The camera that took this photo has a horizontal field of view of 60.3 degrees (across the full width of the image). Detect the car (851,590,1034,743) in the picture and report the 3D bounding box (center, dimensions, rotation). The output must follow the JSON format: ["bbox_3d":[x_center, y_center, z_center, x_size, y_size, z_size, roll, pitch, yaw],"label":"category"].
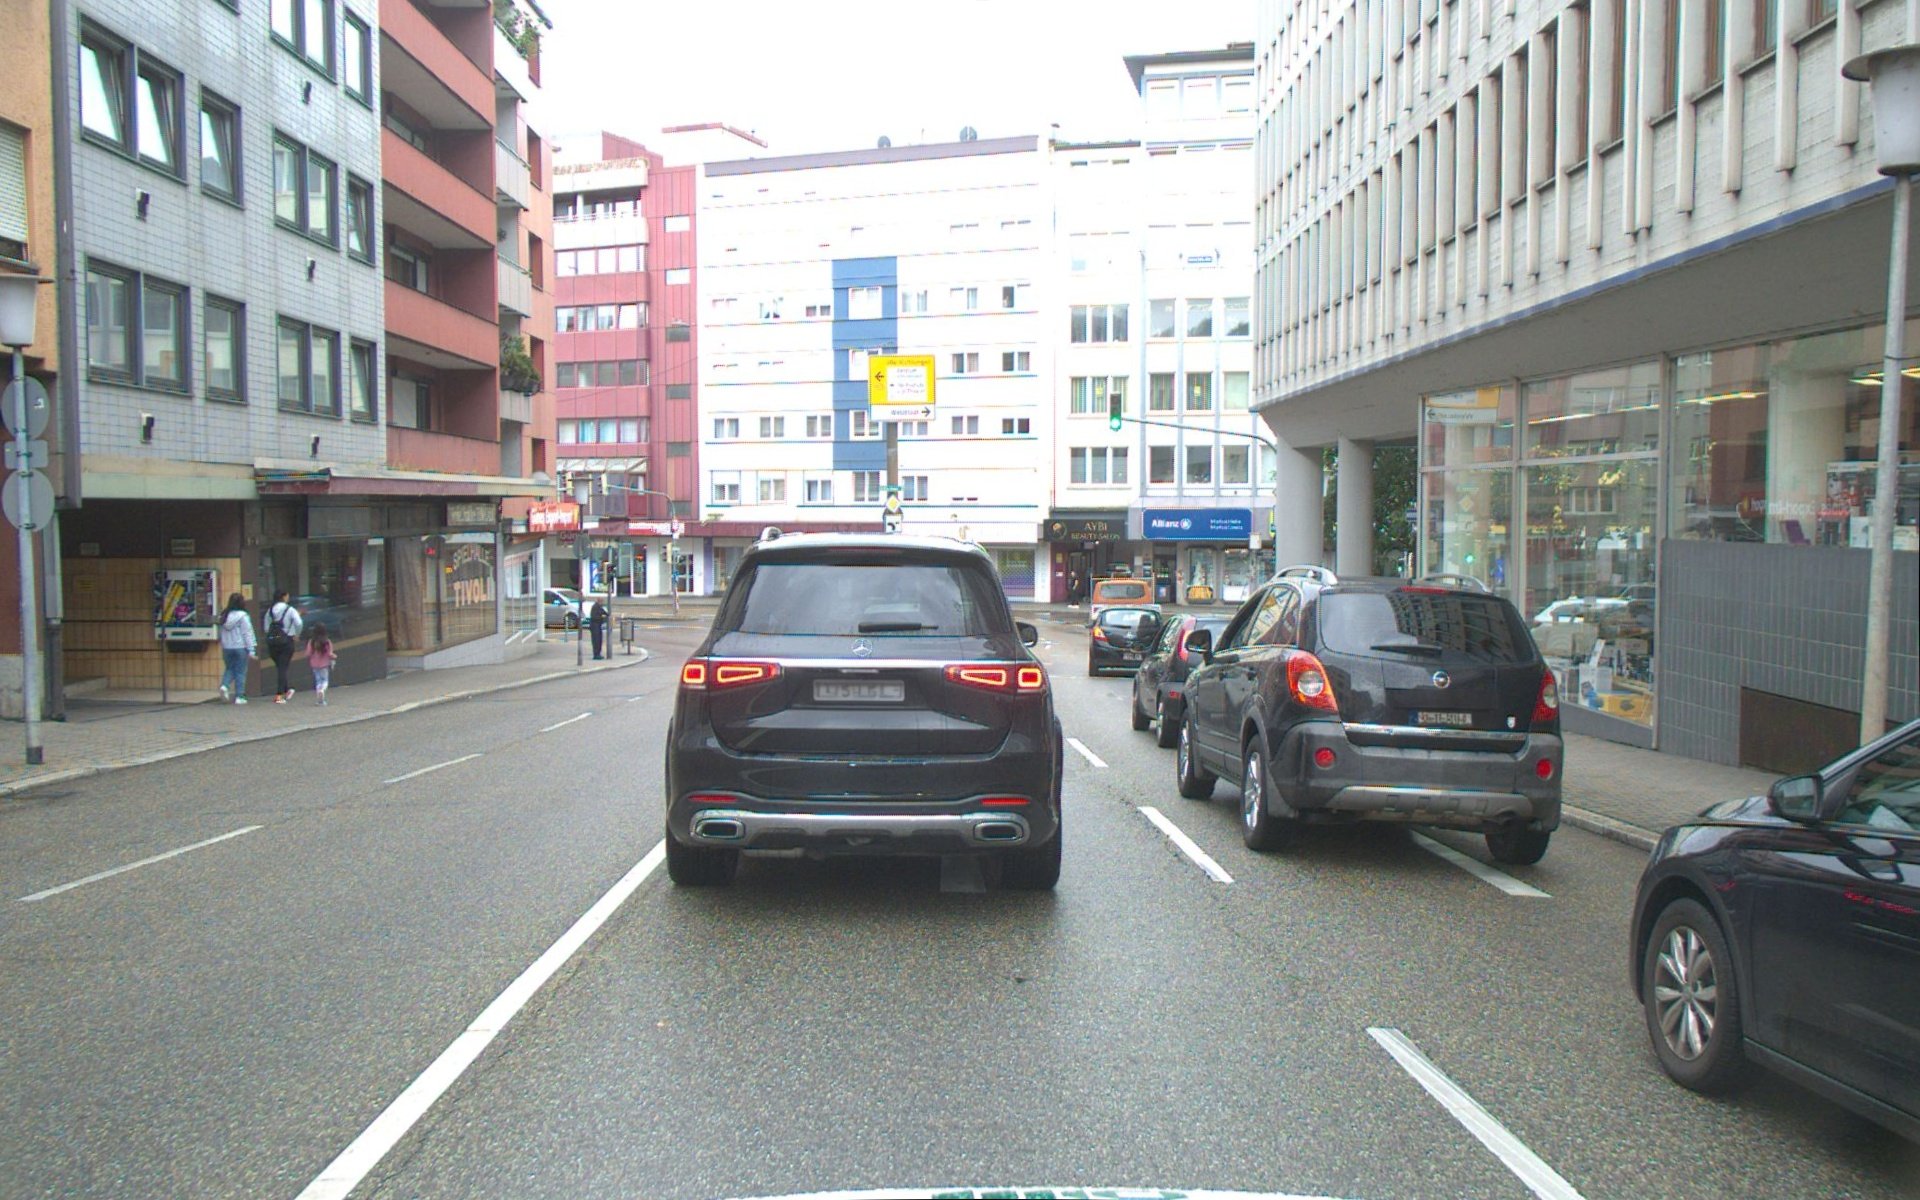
[{"bbox_3d":[-0.266,0.667,19.058,1.836,1.521,4.398,1,0,-2],"label":"car"}]

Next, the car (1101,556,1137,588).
[{"bbox_3d":[8.809,-1.517,91.445,1.759,1.699,4.003,0,0,8],"label":"car"}]

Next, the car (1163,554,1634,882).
[{"bbox_3d":[2.713,0.648,11.419,1.859,1.724,4.504,3,0,-2],"label":"car"}]

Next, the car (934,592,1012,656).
[{"bbox_3d":[0.285,0.648,43.655,1.886,1.542,4.661,2,-1,-1],"label":"car"}]

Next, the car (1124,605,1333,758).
[{"bbox_3d":[2.935,0.841,18.854,1.731,1.421,4.001,3,0,1],"label":"car"}]

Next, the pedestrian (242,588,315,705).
[{"bbox_3d":[-10.284,0.690,24.974,0.812,1.719,0.722,2,0,-10],"label":"pedestrian"}]

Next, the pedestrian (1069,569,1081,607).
[{"bbox_3d":[5.501,-0.582,79.150,0.552,1.717,0.757,0,6,5],"label":"pedestrian"}]

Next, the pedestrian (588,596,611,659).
[{"bbox_3d":[-10.056,0.758,46.107,0.543,1.727,0.623,0,0,-4],"label":"pedestrian"}]

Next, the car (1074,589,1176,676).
[{"bbox_3d":[3.471,0.676,35.479,1.785,1.687,4.495,2,-1,1],"label":"car"}]

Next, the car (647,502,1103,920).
[{"bbox_3d":[-0.464,0.490,9.714,1.998,1.830,4.660,1,0,-2],"label":"car"}]

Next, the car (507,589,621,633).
[{"bbox_3d":[-15.907,0.430,66.483,4.073,1.620,1.742,2,1,14],"label":"car"}]

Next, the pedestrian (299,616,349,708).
[{"bbox_3d":[-9.598,0.924,24.966,0.523,1.346,0.722,2,0,-10],"label":"pedestrian"}]

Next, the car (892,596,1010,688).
[{"bbox_3d":[-0.176,0.698,29.868,1.953,1.512,4.236,-1,0,-1],"label":"car"}]

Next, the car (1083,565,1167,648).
[{"bbox_3d":[4.843,0.196,49.139,2.195,2.267,5.430,1,0,3],"label":"car"}]

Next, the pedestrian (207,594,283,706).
[{"bbox_3d":[-10.418,0.723,24.129,0.812,1.588,0.722,2,0,-10],"label":"pedestrian"}]

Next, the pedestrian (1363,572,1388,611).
[{"bbox_3d":[19.073,-0.403,75.908,1.008,1.717,0.831,0,6,8],"label":"pedestrian"}]

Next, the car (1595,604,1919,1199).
[{"bbox_3d":[3.262,0.820,4.088,1.655,1.503,3.998,3,0,-2],"label":"car"}]

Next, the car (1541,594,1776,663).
[{"bbox_3d":[16.318,0.624,38.783,4.763,1.521,1.847,0,0,41],"label":"car"}]
